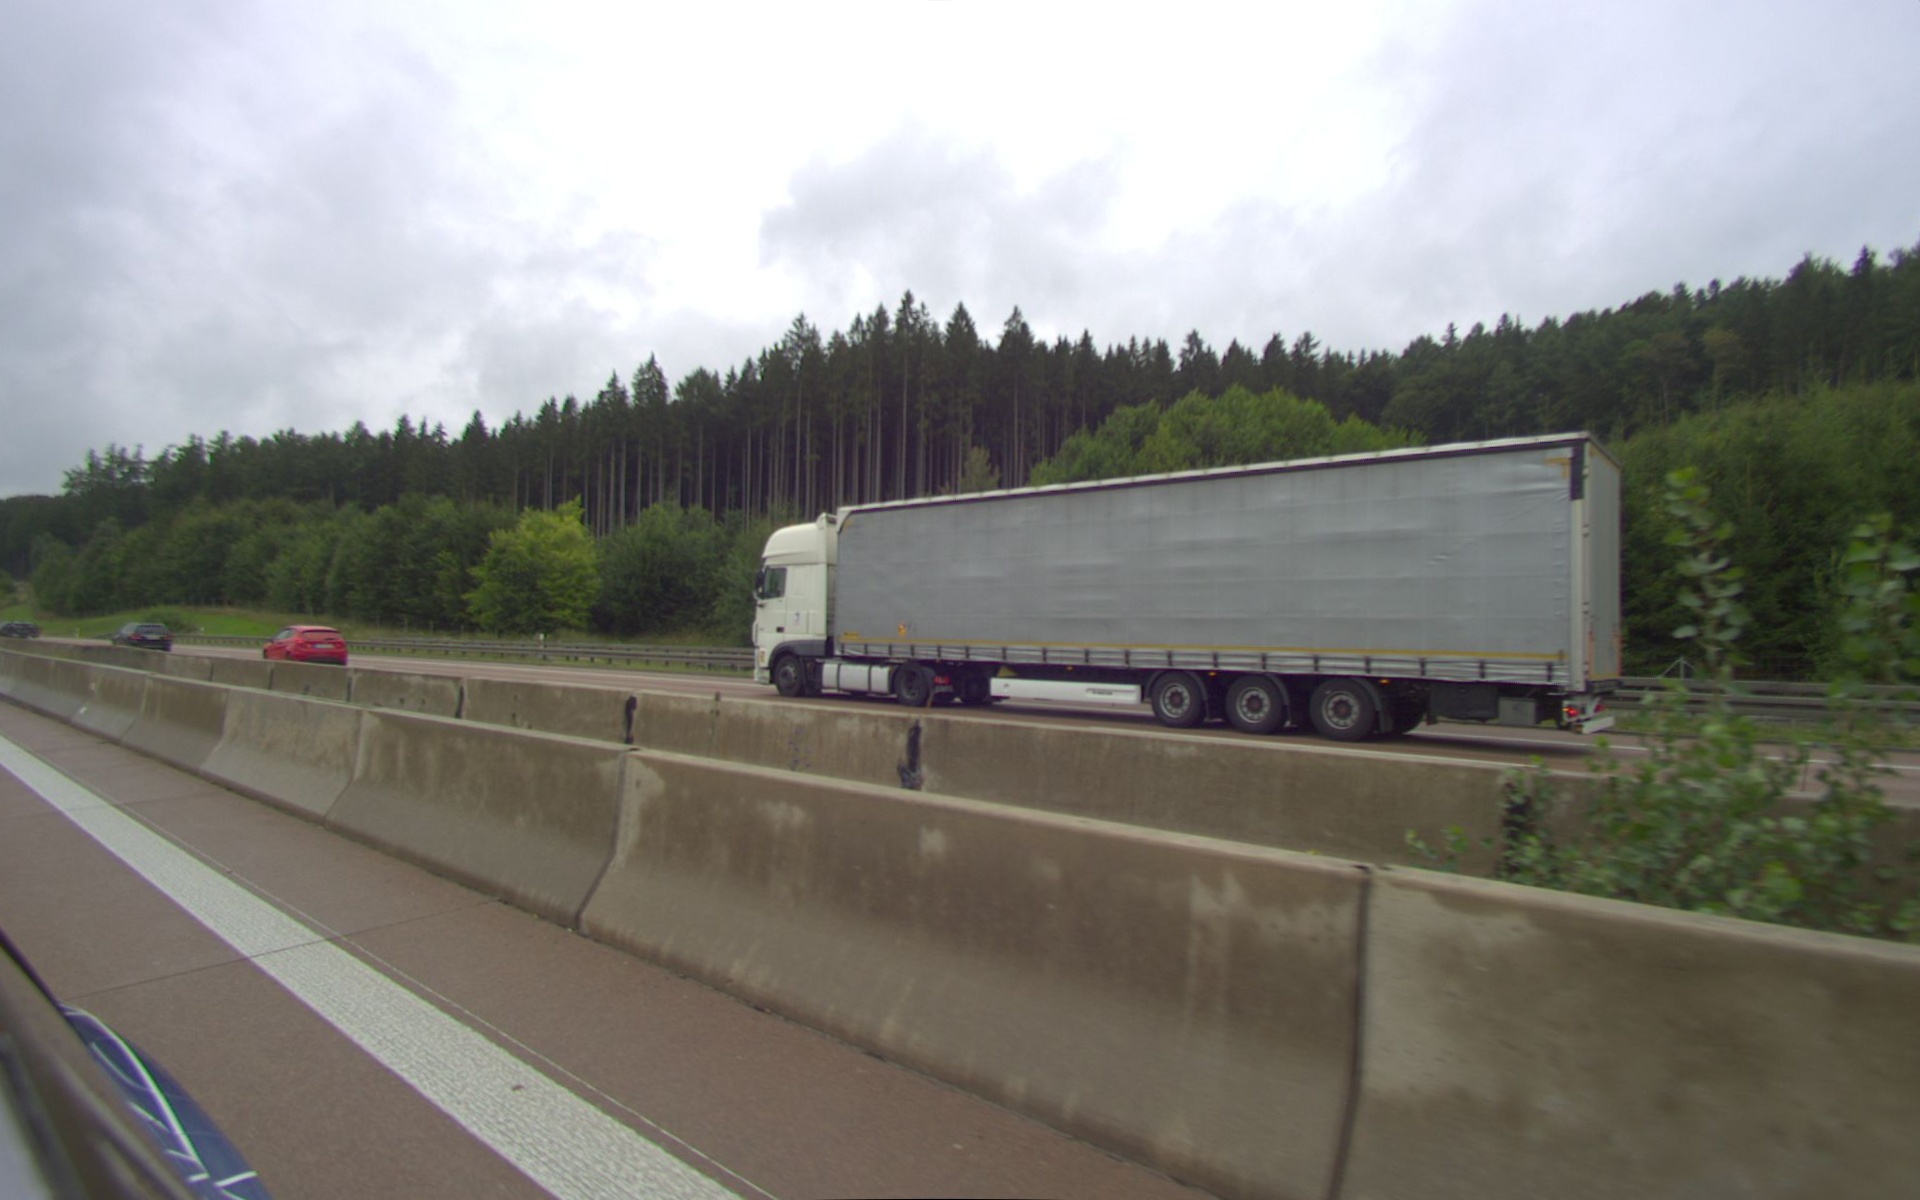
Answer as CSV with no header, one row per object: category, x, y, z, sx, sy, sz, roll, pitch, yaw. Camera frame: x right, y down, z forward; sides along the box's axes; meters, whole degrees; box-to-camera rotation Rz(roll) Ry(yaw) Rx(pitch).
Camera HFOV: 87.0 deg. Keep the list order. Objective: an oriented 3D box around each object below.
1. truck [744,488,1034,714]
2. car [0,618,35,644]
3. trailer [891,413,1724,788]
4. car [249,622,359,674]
truck,-1.657,0.049,21.808,5.999,4.207,2.740,0,-2,41
car,-77.010,2.485,82.149,5.725,1.875,2.257,0,1,41
trailer,4.380,0.029,16.487,12.750,4.171,2.710,0,-2,41
car,-22.105,1.595,34.047,4.278,1.557,1.973,0,-2,41
